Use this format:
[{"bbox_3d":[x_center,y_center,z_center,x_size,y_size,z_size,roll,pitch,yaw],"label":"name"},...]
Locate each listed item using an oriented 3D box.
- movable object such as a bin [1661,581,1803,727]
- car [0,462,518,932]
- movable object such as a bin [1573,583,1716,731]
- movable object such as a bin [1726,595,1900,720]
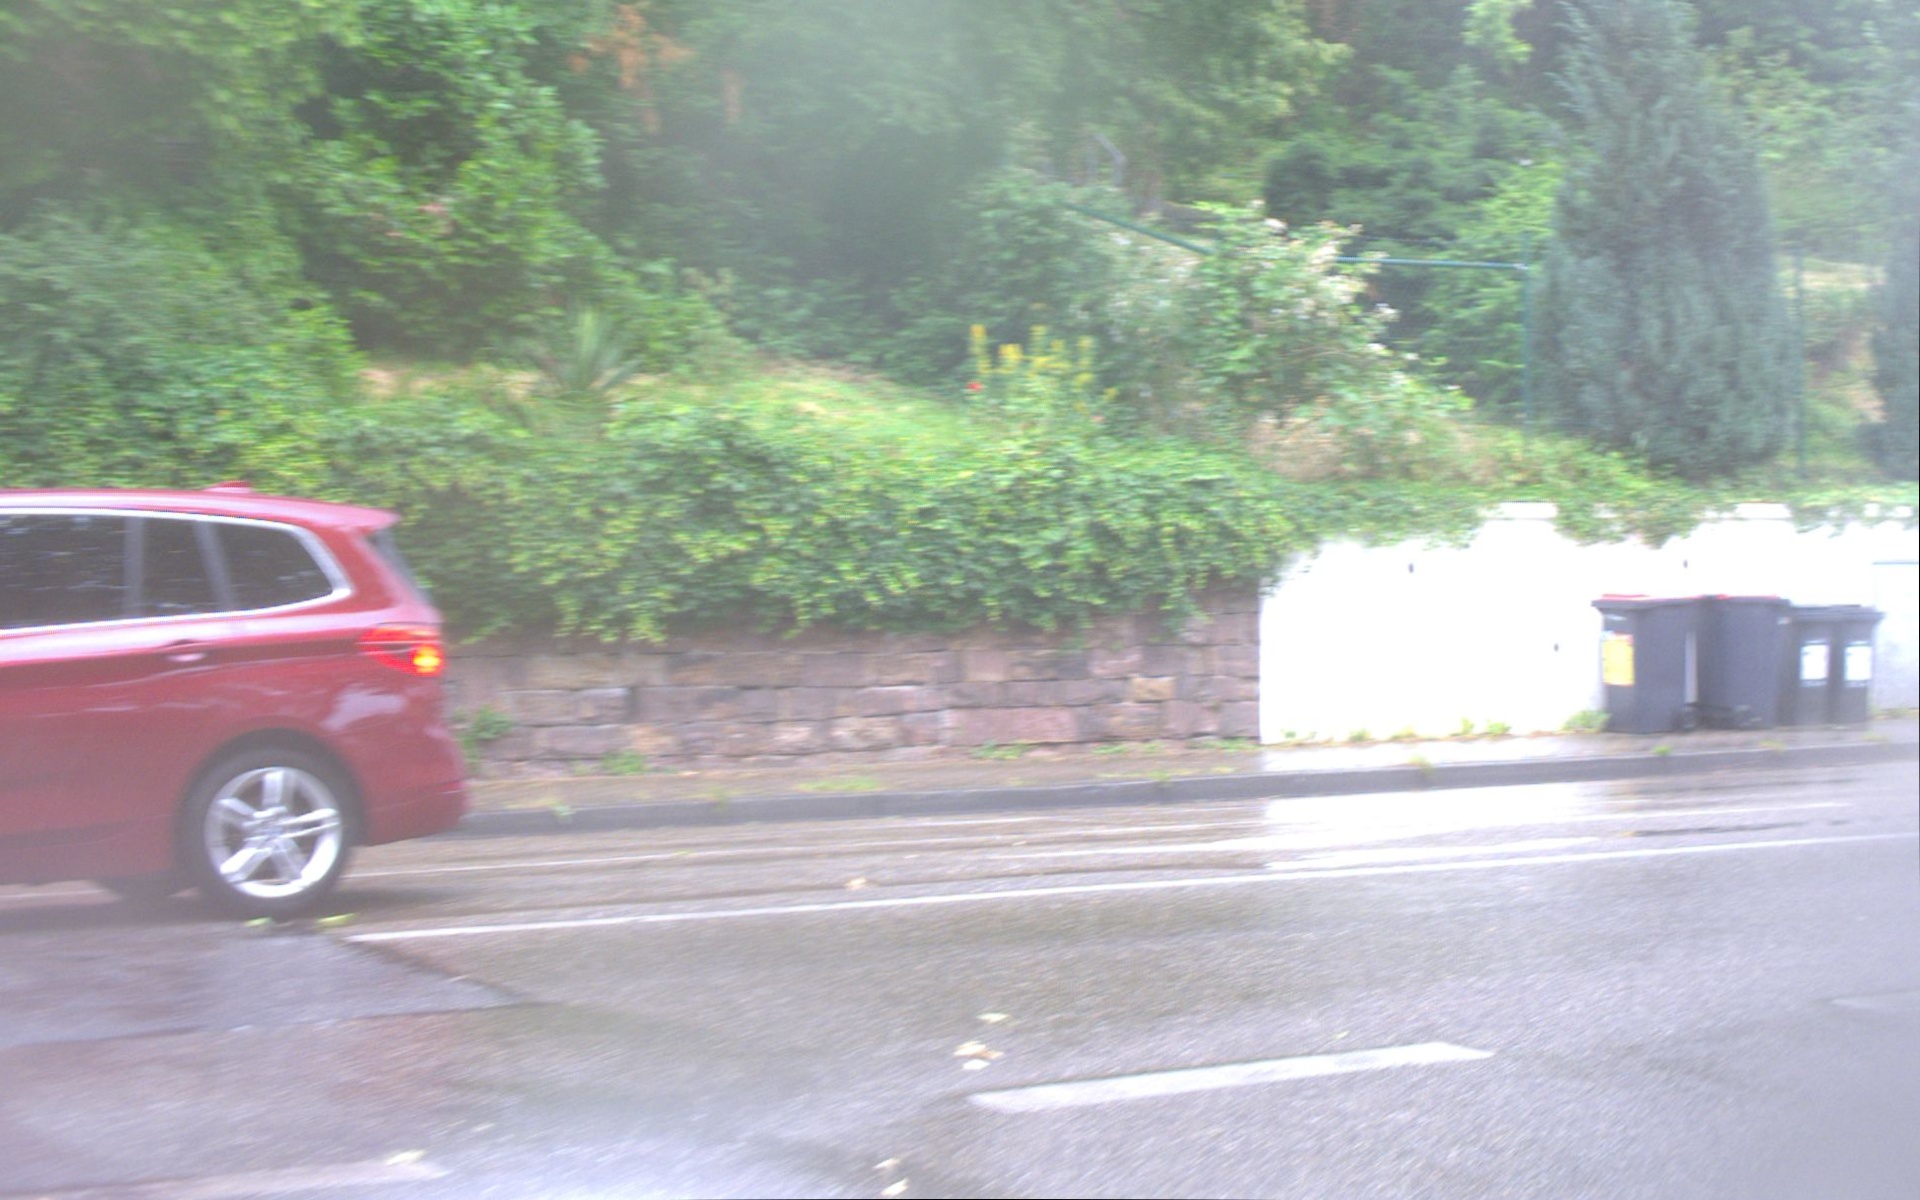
[{"bbox_3d":[5.795,0.401,25.806,0.791,1.057,0.636,-1,0,-30],"label":"movable object such as a bin"},{"bbox_3d":[-4.093,0.369,12.437,4.568,1.595,1.775,-2,0,-30],"label":"car"},{"bbox_3d":[5.070,0.416,25.474,0.751,1.057,0.689,-1,0,-30],"label":"movable object such as a bin"},{"bbox_3d":[6.565,0.435,26.473,0.951,0.913,0.852,-2,0,-31],"label":"movable object such as a bin"}]
